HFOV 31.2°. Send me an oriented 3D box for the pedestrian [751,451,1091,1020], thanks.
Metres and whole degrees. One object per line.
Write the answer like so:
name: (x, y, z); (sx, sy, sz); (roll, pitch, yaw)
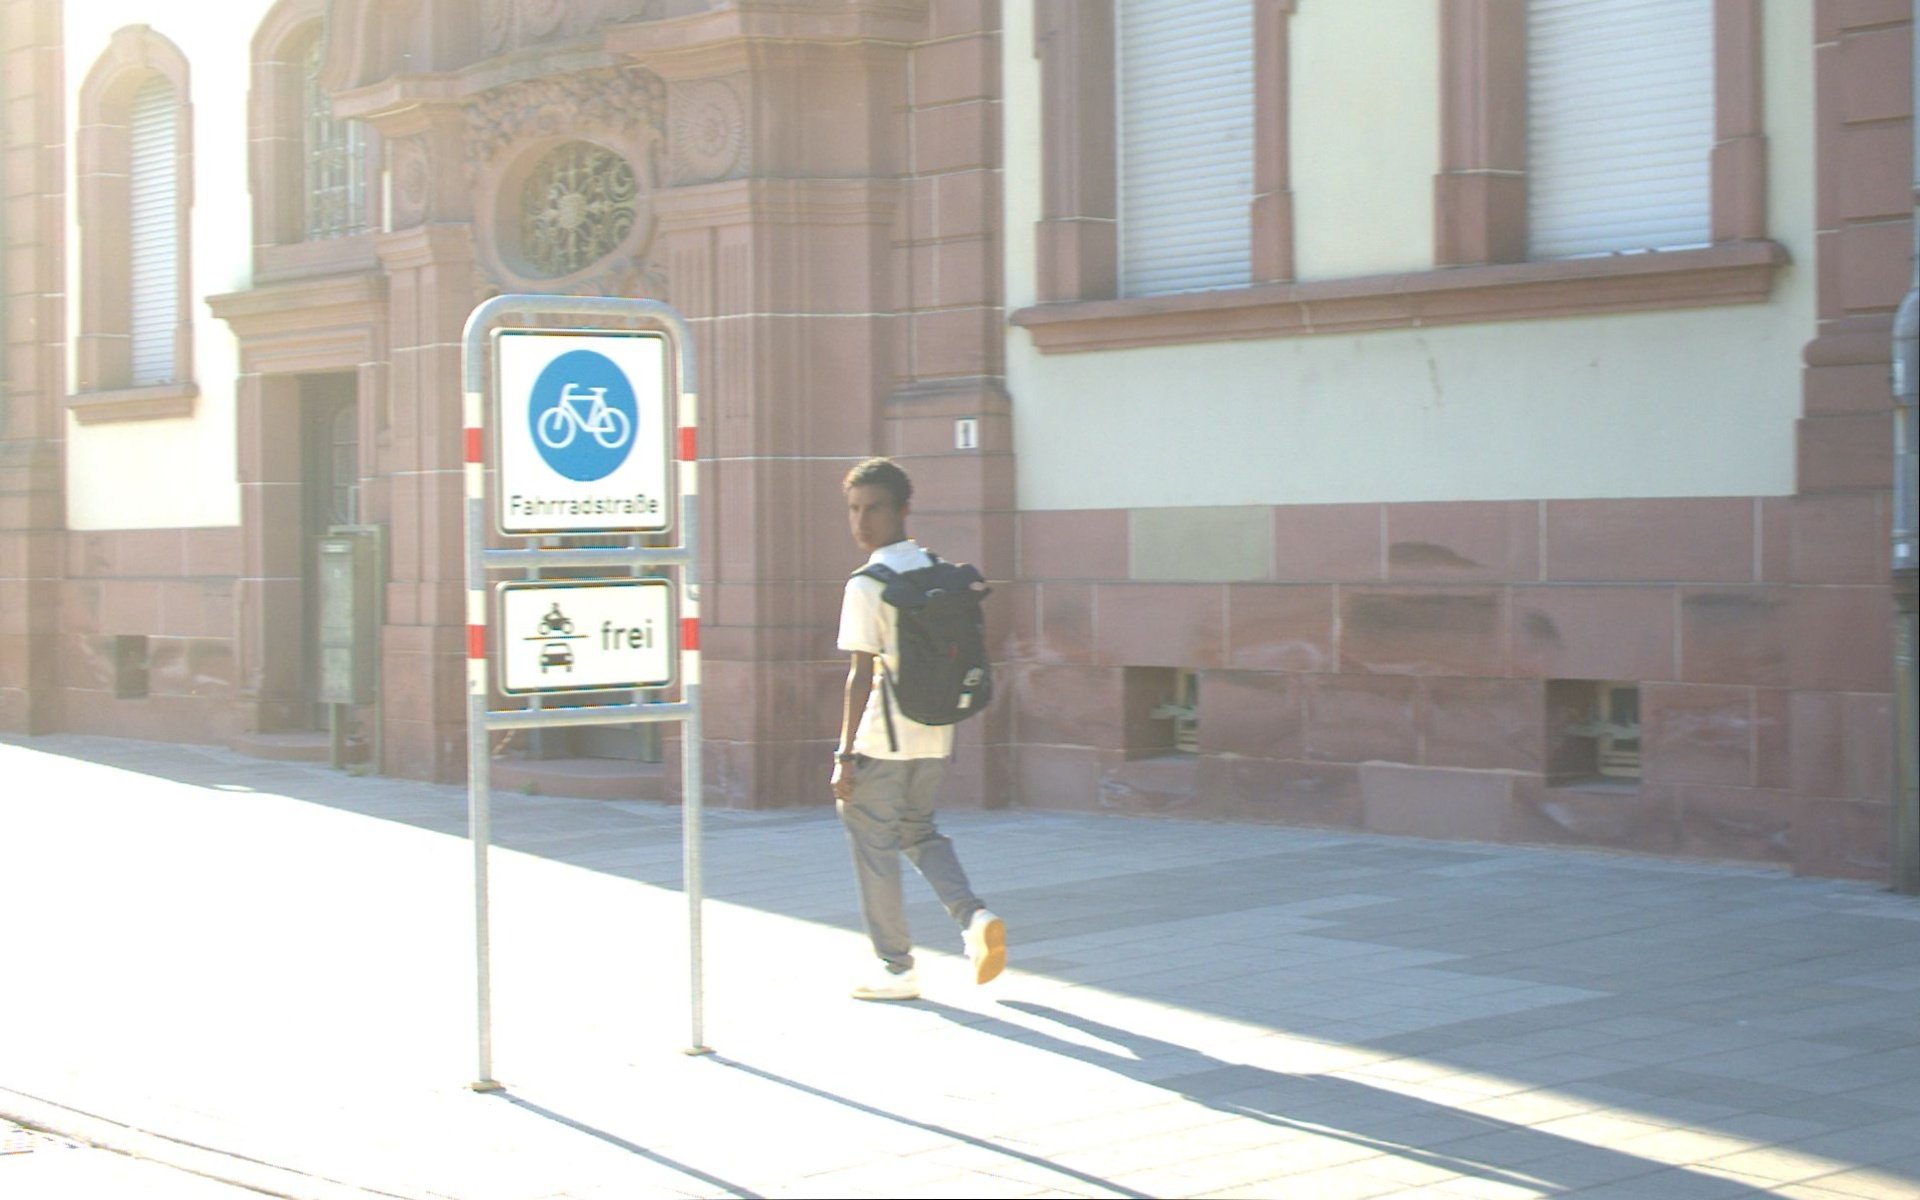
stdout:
pedestrian: (-0.134, 0.396, 10.948); (0.532, 1.713, 1.002); (-3, 3, -38)
